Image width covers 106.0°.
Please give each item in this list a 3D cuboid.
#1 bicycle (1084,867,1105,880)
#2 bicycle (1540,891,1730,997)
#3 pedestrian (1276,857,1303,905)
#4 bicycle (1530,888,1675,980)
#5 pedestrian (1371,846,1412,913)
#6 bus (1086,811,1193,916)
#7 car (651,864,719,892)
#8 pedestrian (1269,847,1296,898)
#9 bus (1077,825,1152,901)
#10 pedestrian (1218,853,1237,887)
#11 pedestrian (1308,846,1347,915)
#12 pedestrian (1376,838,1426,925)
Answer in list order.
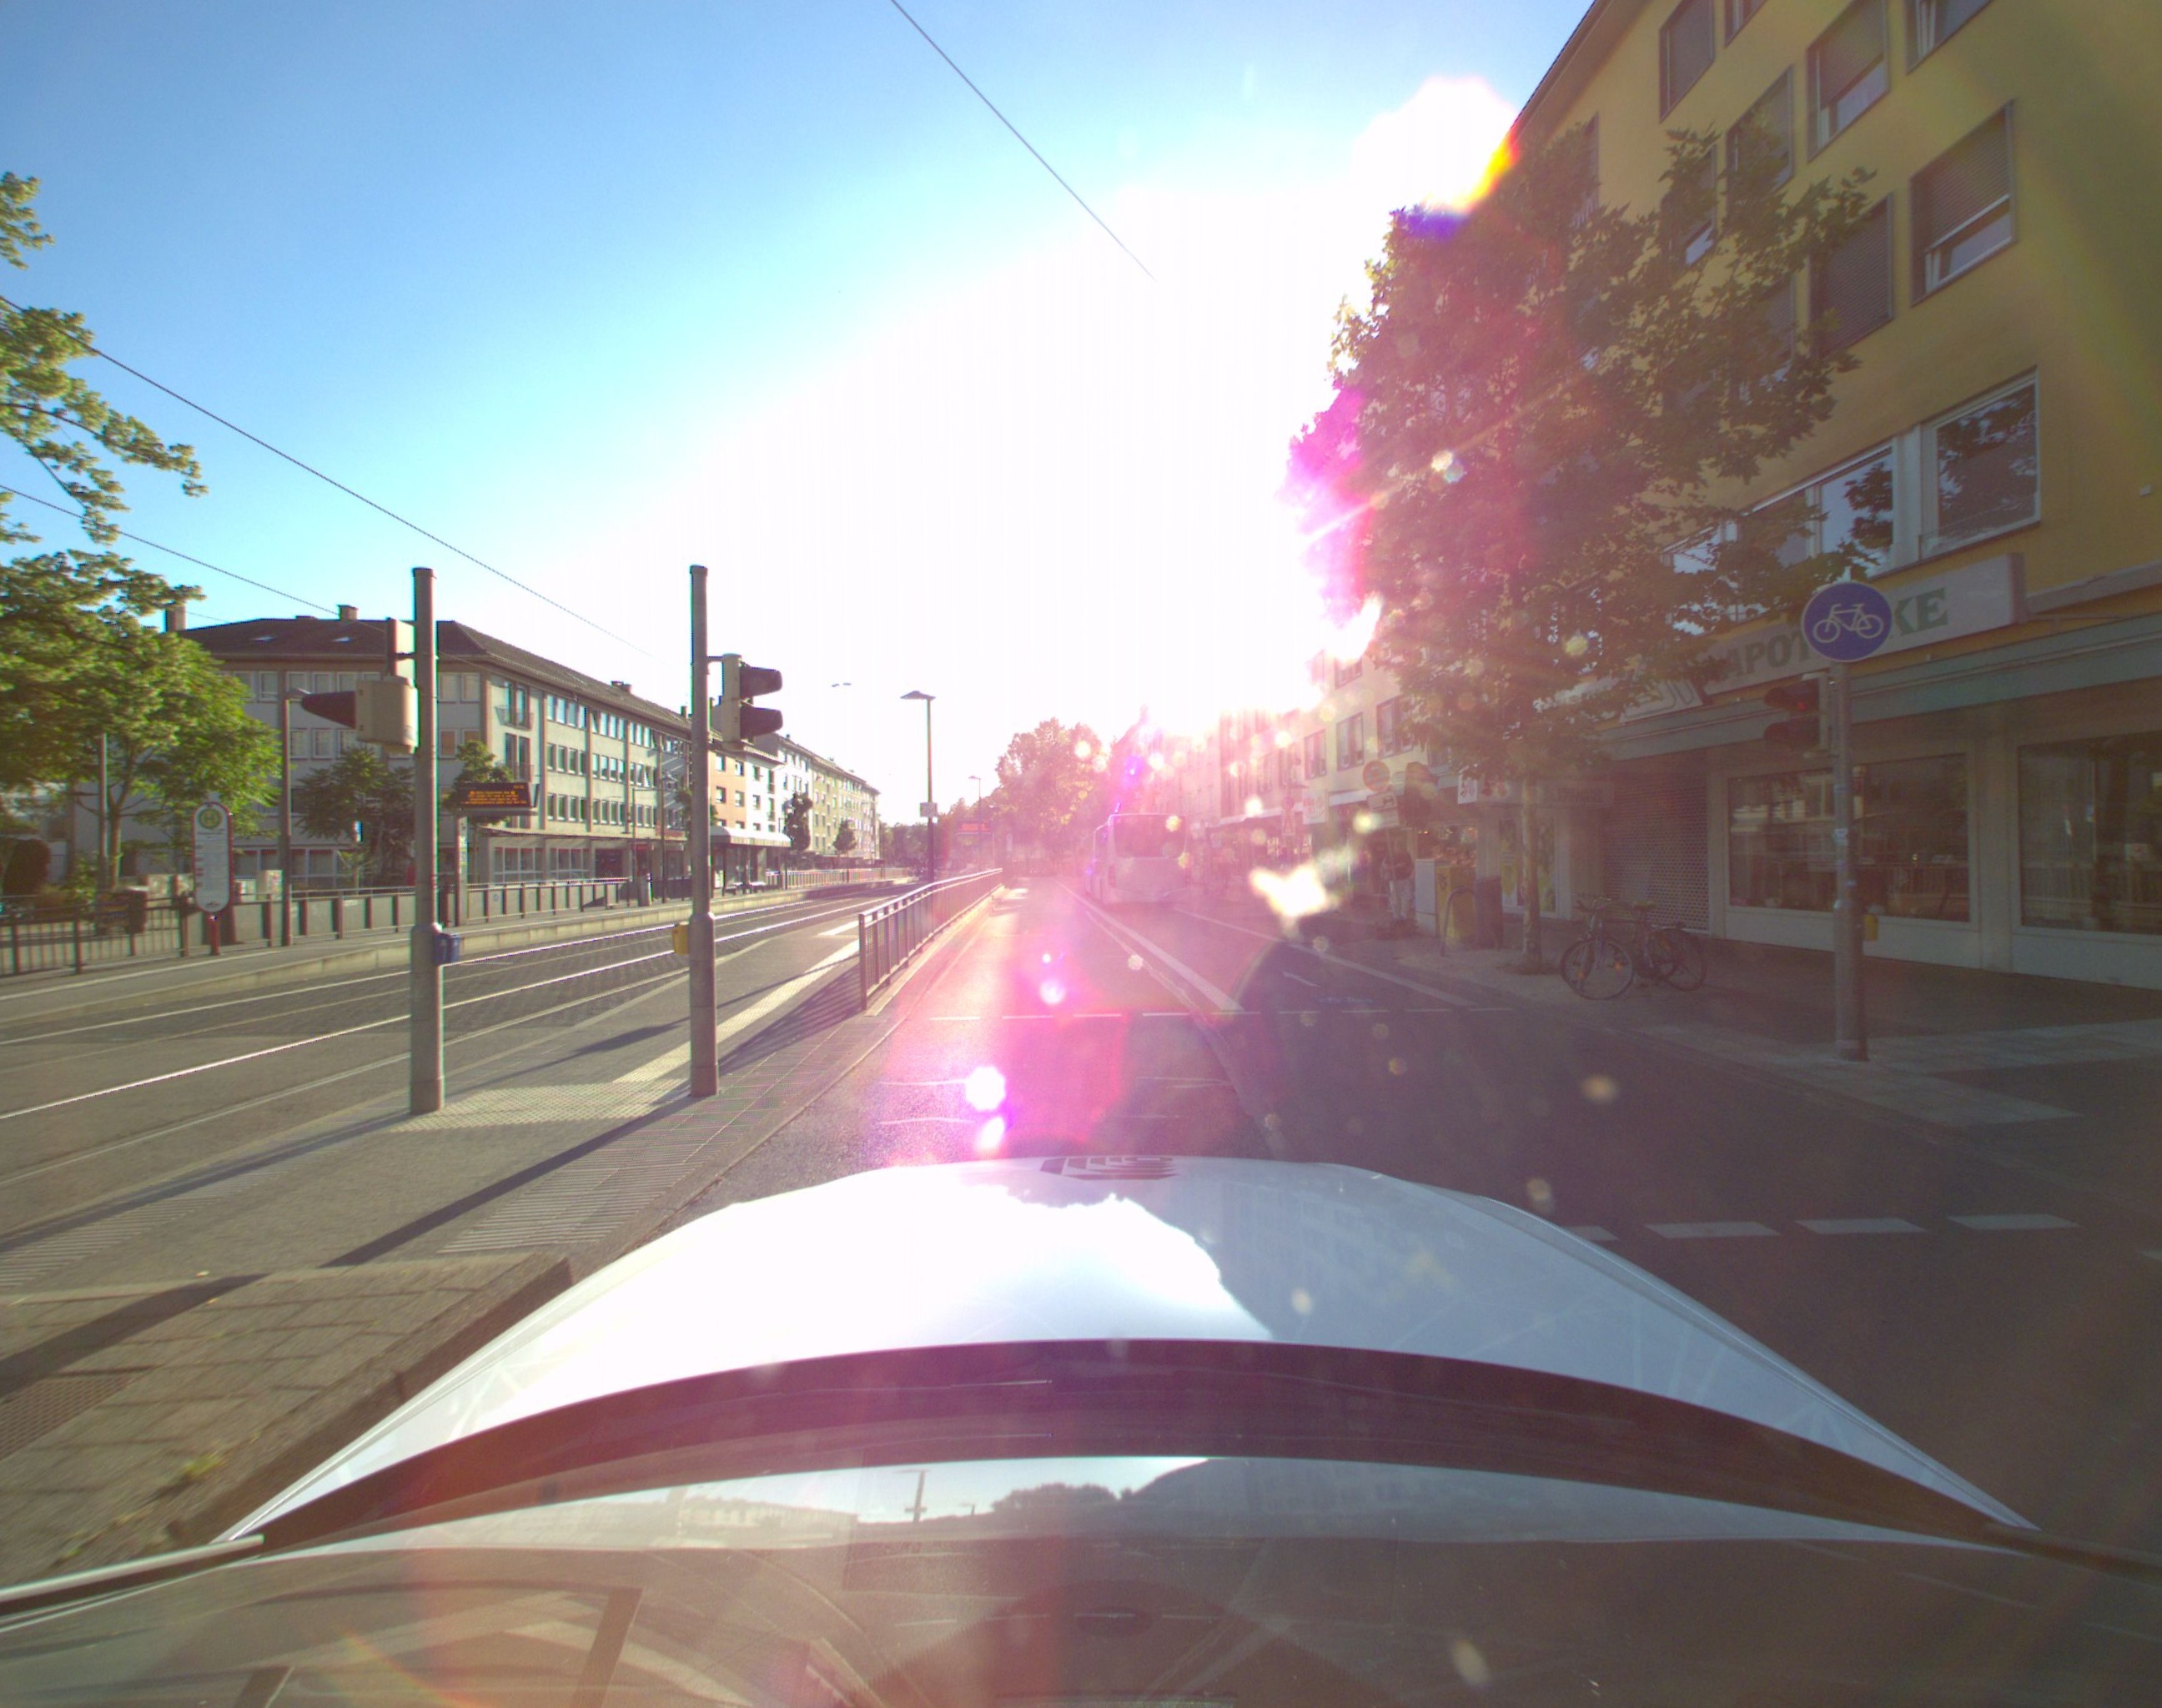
[{"bbox_3d":[1.275,1.886,78.539,1.881,1.077,0.754,-5,-1,-1],"label":"bicycle"},{"bbox_3d":[6.135,0.973,9.041,1.796,1.008,0.540,-3,-1,-7],"label":"bicycle"},{"bbox_3d":[6.976,0.890,27.238,0.609,1.578,0.850,-1,-1,-4],"label":"pedestrian"},{"bbox_3d":[6.131,0.927,9.598,1.481,1.008,0.453,-1,-1,-7],"label":"bicycle"},{"bbox_3d":[8.205,0.659,21.564,0.722,1.723,0.765,-1,-1,-4],"label":"pedestrian"},{"bbox_3d":[1.781,0.326,28.833,2.690,3.118,9.371,0,-1,-3],"label":"bus"},{"bbox_3d":[-25.629,1.549,52.828,1.748,1.679,3.533,-1,0,35],"label":"car"},{"bbox_3d":[7.429,0.668,30.061,0.722,1.840,0.765,-1,-1,-4],"label":"pedestrian"},{"bbox_3d":[1.360,0.422,38.001,2.690,3.118,9.060,0,-1,-3],"label":"bus"},{"bbox_3d":[7.187,0.777,40.009,0.722,1.632,0.765,-1,-1,-4],"label":"pedestrian"},{"bbox_3d":[6.558,0.693,21.696,0.722,1.779,0.765,-1,-1,-4],"label":"pedestrian"},{"bbox_3d":[6.872,0.580,17.517,0.722,1.807,0.765,-1,-1,-4],"label":"pedestrian"}]
